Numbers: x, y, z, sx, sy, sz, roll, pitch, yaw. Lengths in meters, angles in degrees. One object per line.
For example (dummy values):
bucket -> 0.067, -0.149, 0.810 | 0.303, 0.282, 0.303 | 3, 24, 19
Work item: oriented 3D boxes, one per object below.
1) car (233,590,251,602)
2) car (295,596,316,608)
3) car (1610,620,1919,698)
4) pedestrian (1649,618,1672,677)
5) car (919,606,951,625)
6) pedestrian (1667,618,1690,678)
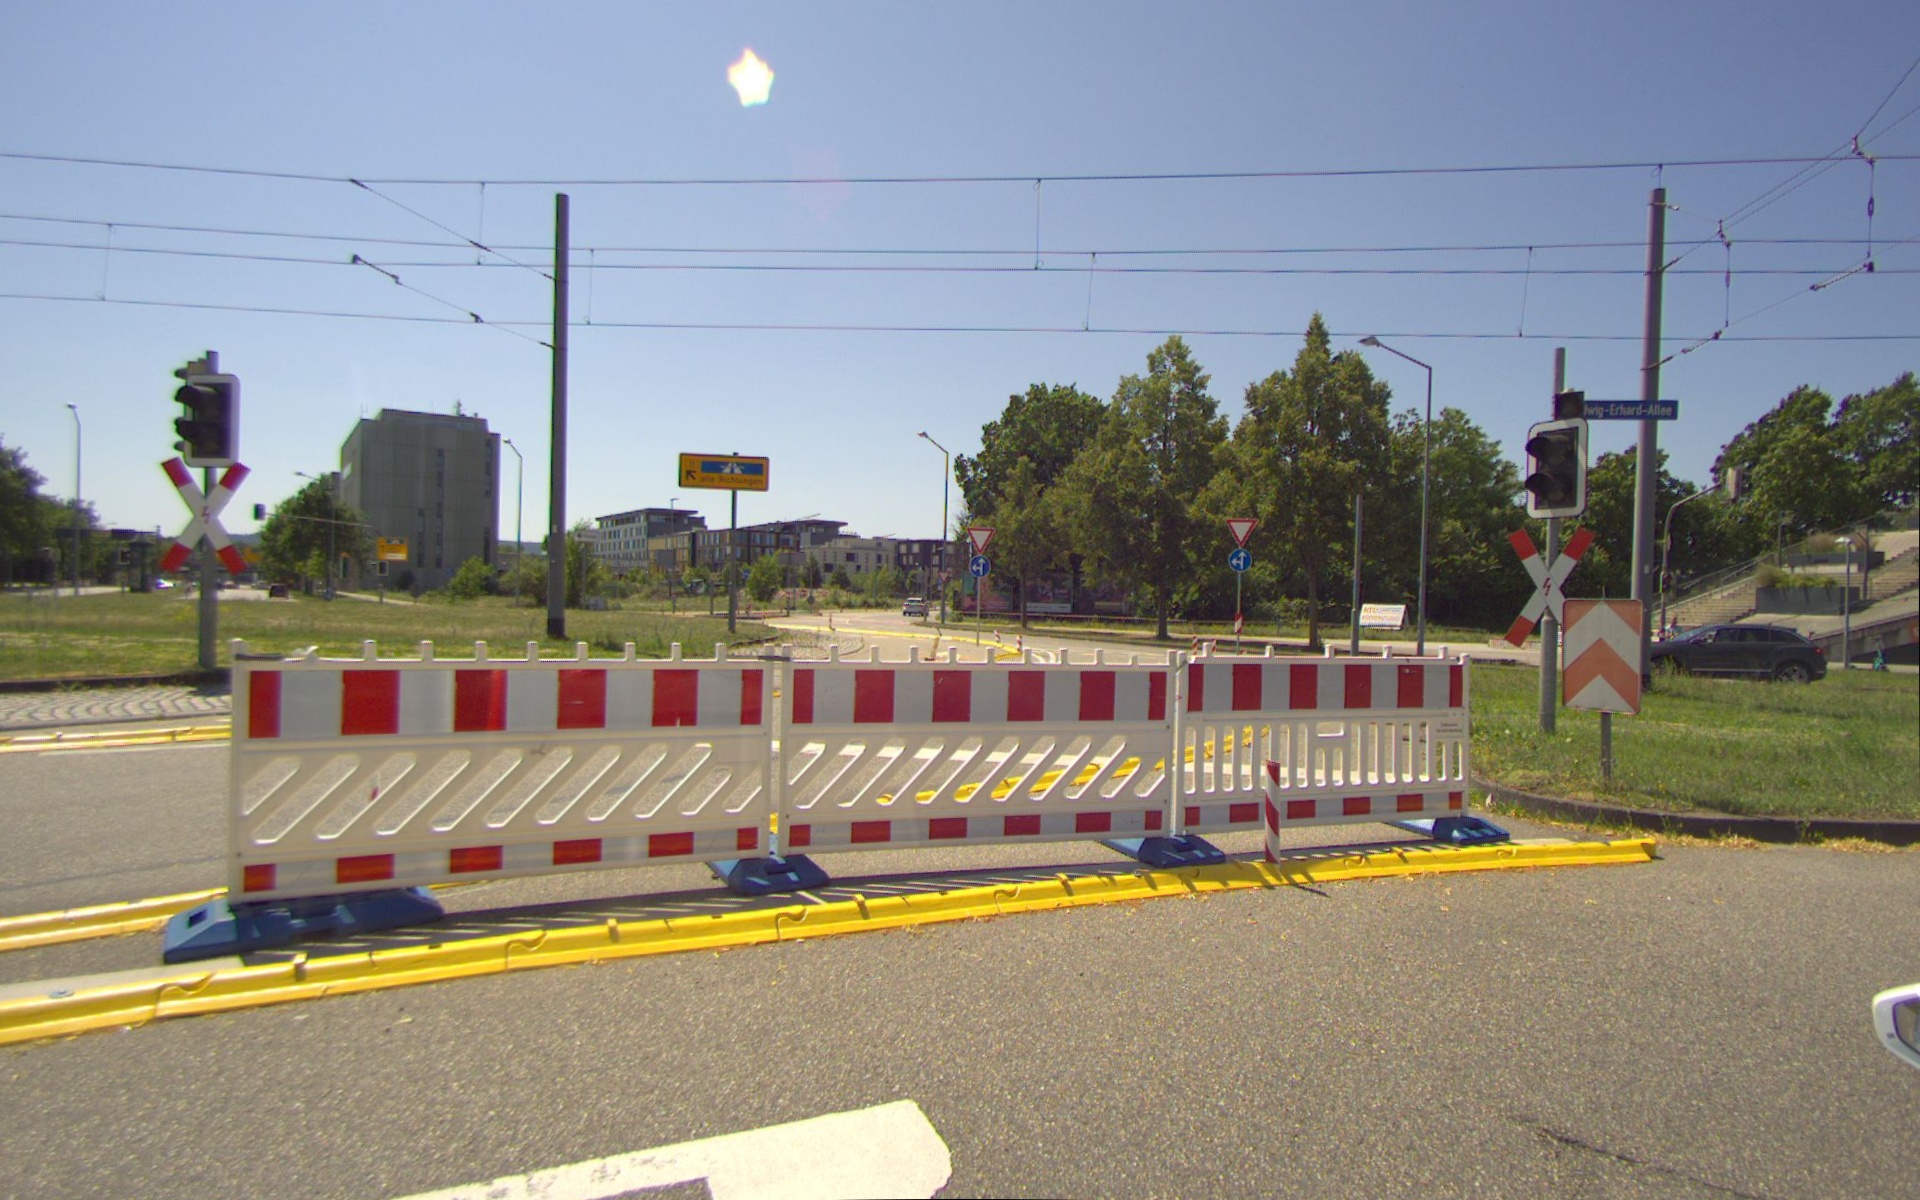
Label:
car -> -87.790, -0.460, 122.825 | 1.742, 1.427, 3.367 | 1, 0, -35
car -> -65.539, 0.227, 100.585 | 1.484, 1.104, 3.483 | 1, 0, -37
car -> 19.449, 1.372, 24.452 | 5.720, 1.538, 2.000 | 2, 0, 18
pedestrian -> 20.999, 1.418, 30.127 | 0.440, 1.762, 0.291 | 2, 0, 13
car -> -2.124, 1.279, 85.758 | 1.959, 1.506, 4.369 | 1, 0, 9
pedestrian -> 21.517, 1.440, 30.073 | 0.440, 1.762, 0.291 | 2, 0, 13
